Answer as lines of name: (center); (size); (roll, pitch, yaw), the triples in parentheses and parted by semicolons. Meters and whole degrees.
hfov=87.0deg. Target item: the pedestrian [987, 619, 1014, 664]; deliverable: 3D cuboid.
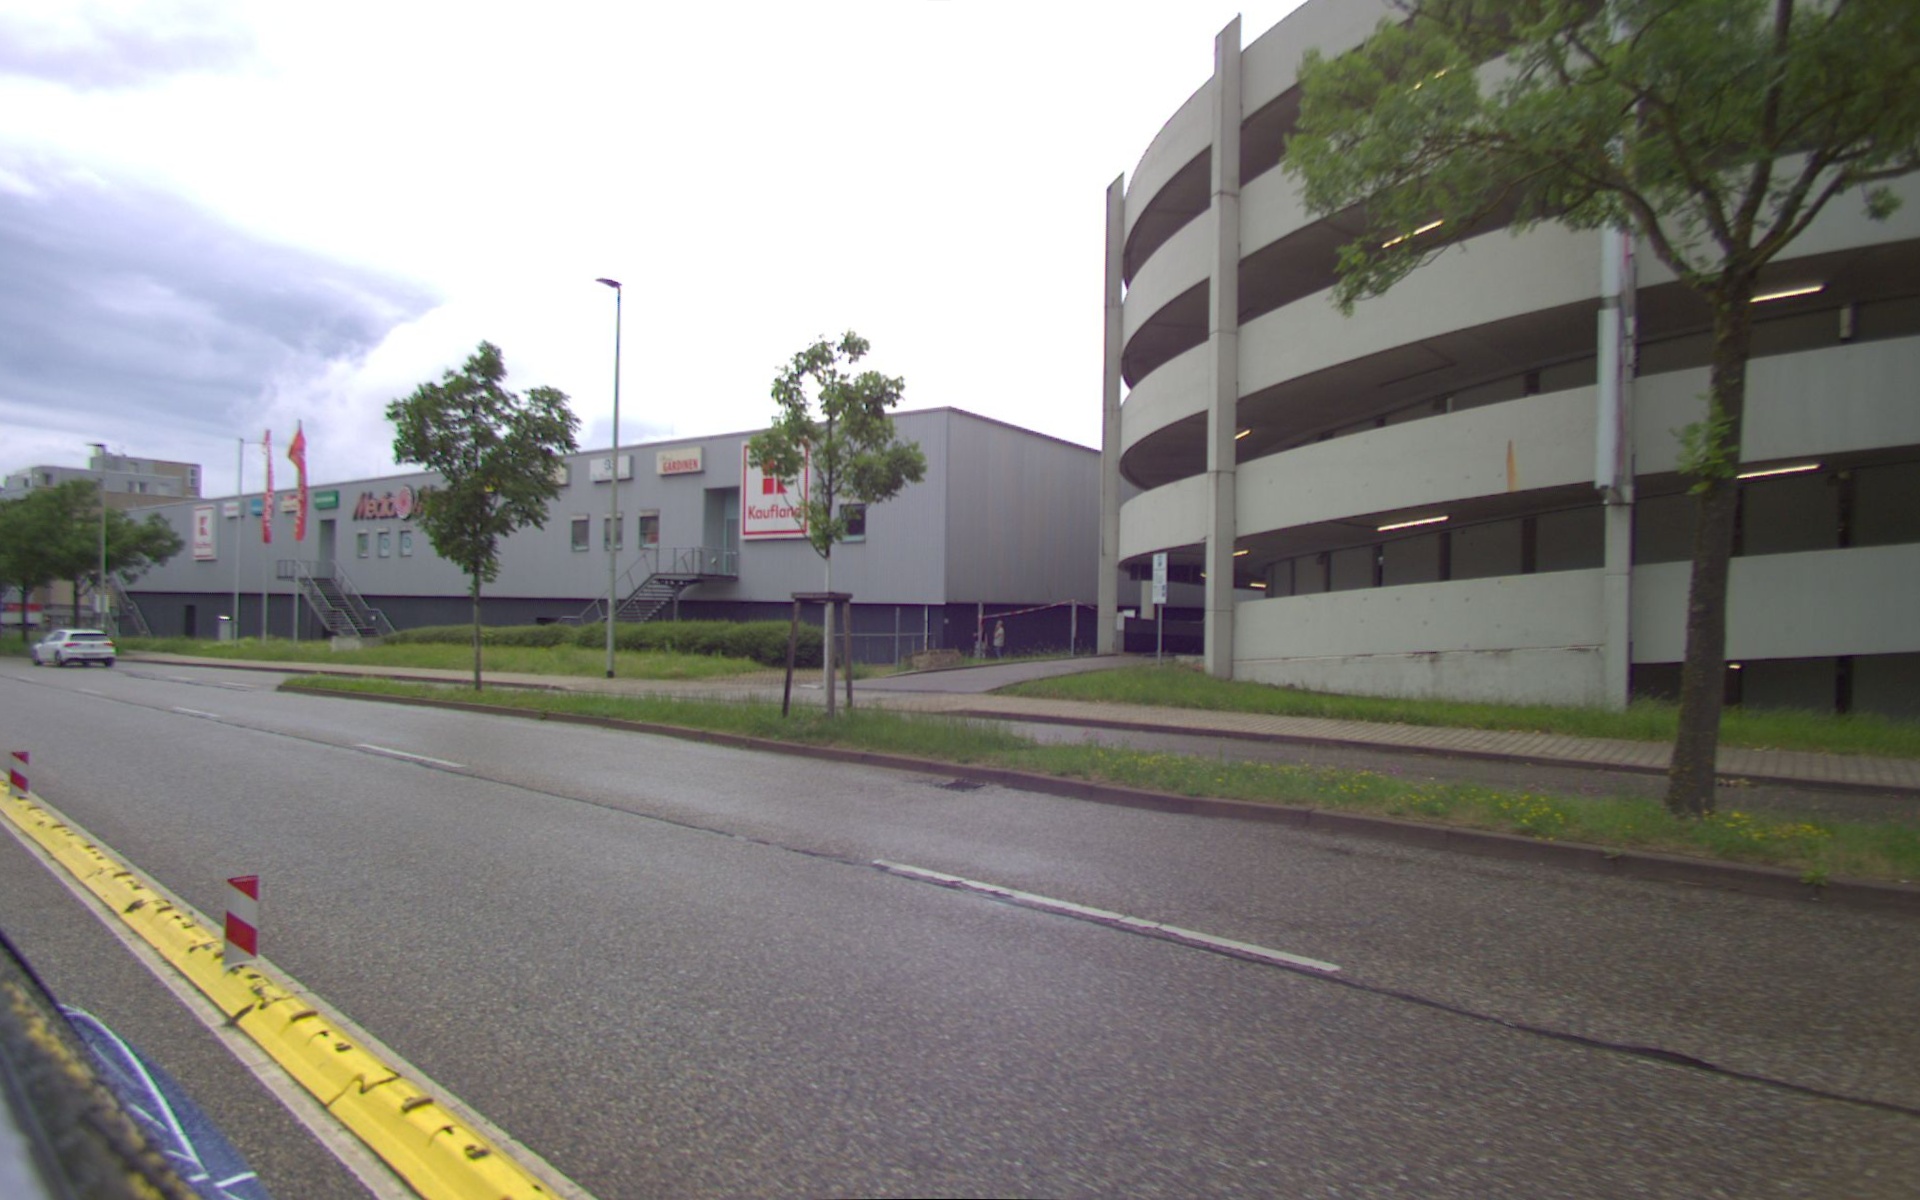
pedestrian: (1.453, 1.479, 36.272); (0.858, 1.587, 0.446); (-1, 0, 31)

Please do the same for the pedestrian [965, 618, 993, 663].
pedestrian: (0.690, 1.458, 36.778); (0.858, 1.587, 0.445); (-1, 0, 31)

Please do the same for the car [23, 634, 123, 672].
car: (-34.934, 2.085, 39.835); (4.412, 1.419, 1.883); (-2, -3, 34)
